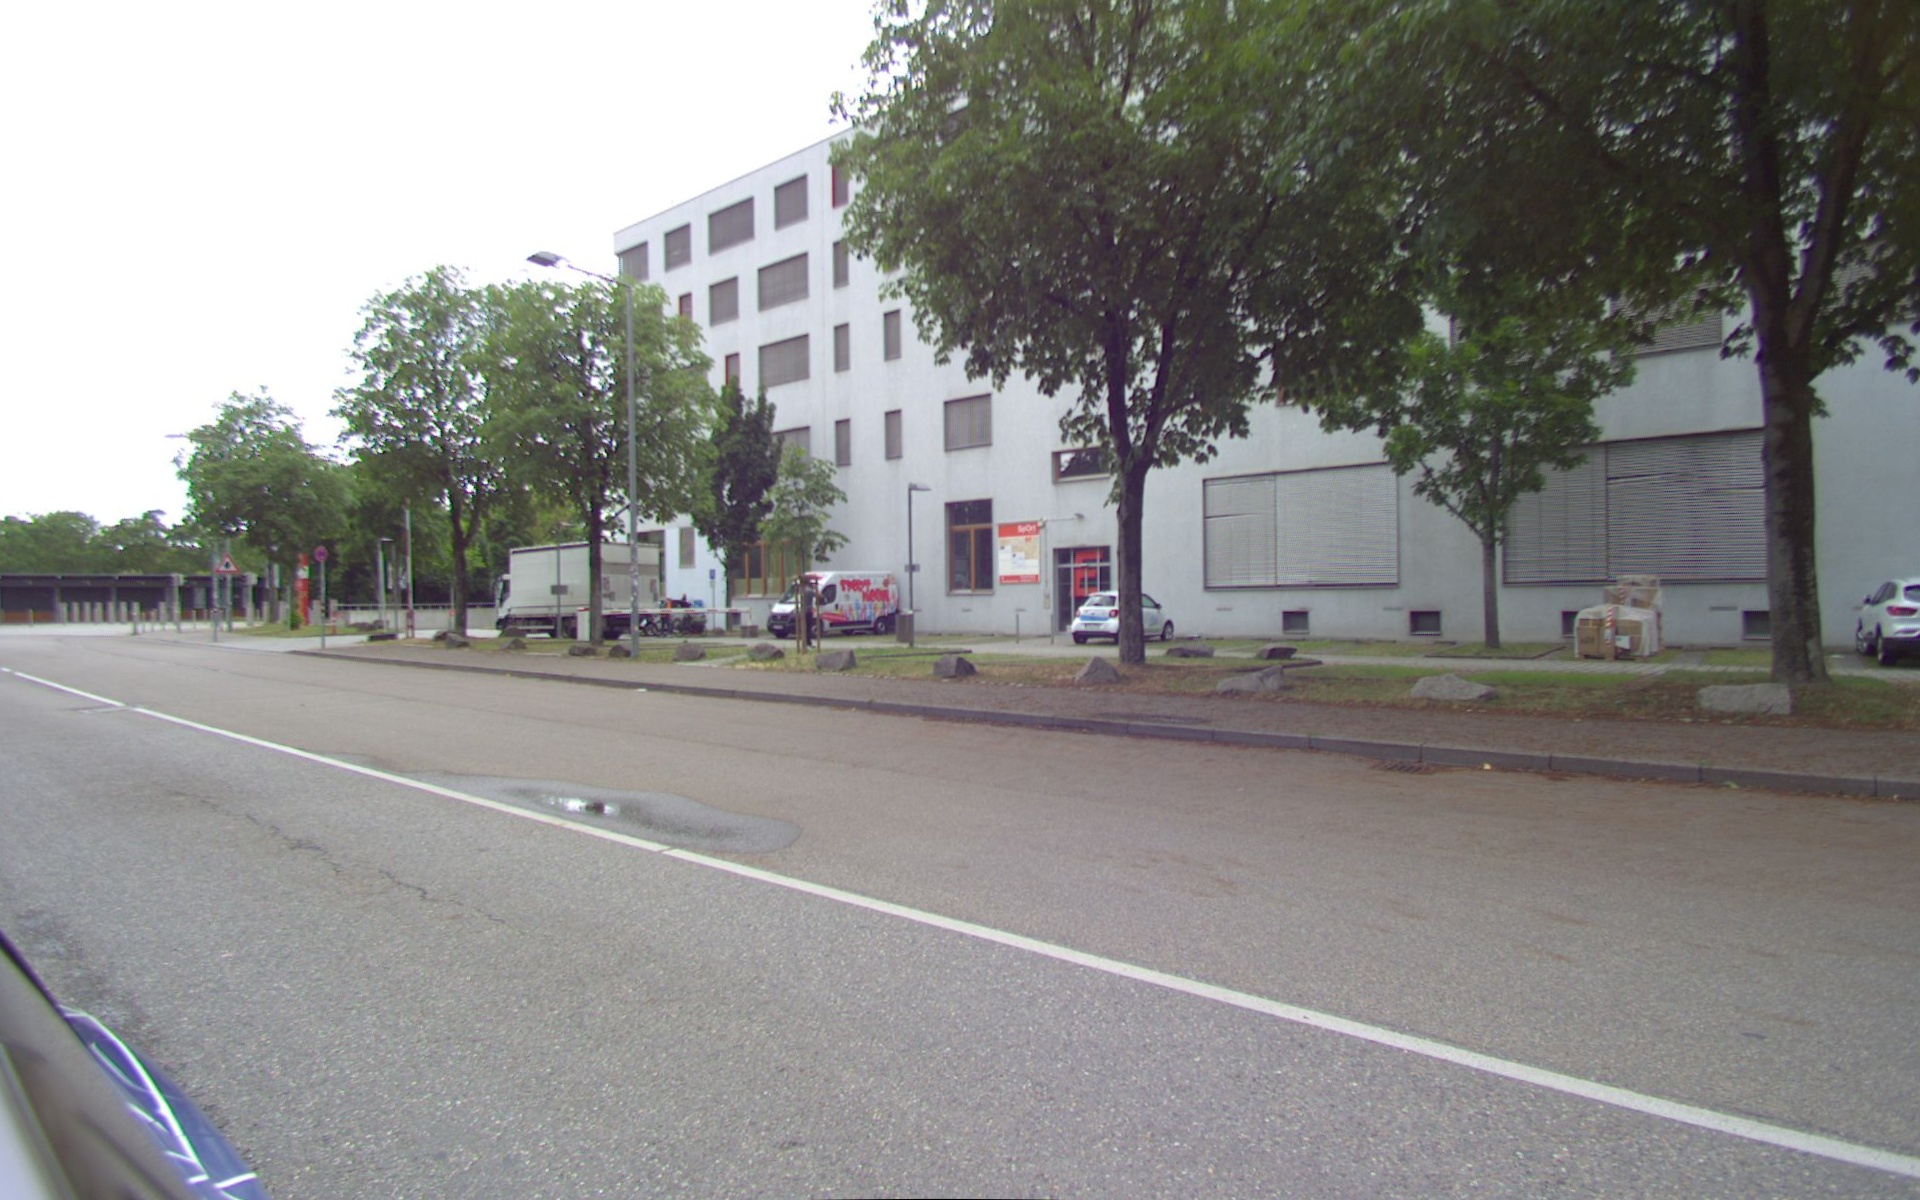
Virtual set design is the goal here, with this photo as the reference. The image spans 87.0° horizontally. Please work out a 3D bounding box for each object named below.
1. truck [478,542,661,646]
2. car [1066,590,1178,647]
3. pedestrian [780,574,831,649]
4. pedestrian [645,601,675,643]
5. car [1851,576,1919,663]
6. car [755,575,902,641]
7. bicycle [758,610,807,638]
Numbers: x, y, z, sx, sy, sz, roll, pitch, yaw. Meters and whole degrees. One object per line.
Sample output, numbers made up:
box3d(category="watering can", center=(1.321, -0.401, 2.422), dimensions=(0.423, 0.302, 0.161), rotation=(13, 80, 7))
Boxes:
box3d(category="truck", center=(-15.154, -0.264, 38.904), dimensions=(8.354, 3.627, 2.651), rotation=(0, 1, 38))
box3d(category="car", center=(4.829, 0.493, 29.940), dimensions=(1.691, 1.511, 3.576), rotation=(0, 1, 40))
box3d(category="pedestrian", center=(-3.534, 0.244, 23.199), dimensions=(0.786, 1.684, 0.835), rotation=(0, 1, 38))
box3d(category="pedestrian", center=(-11.704, 0.843, 39.513), dimensions=(0.880, 1.618, 0.676), rotation=(0, 1, 18))
box3d(category="car", center=(17.937, 0.308, 18.649), dimensions=(1.896, 1.467, 3.963), rotation=(0, 1, 36))
box3d(category="car", center=(-4.838, 0.235, 38.068), dimensions=(2.078, 2.296, 5.569), rotation=(0, 1, 40))
box3d(category="bicycle", center=(-7.252, 0.963, 41.431), dimensions=(0.614, 1.078, 2.002), rotation=(0, 2, 44))
